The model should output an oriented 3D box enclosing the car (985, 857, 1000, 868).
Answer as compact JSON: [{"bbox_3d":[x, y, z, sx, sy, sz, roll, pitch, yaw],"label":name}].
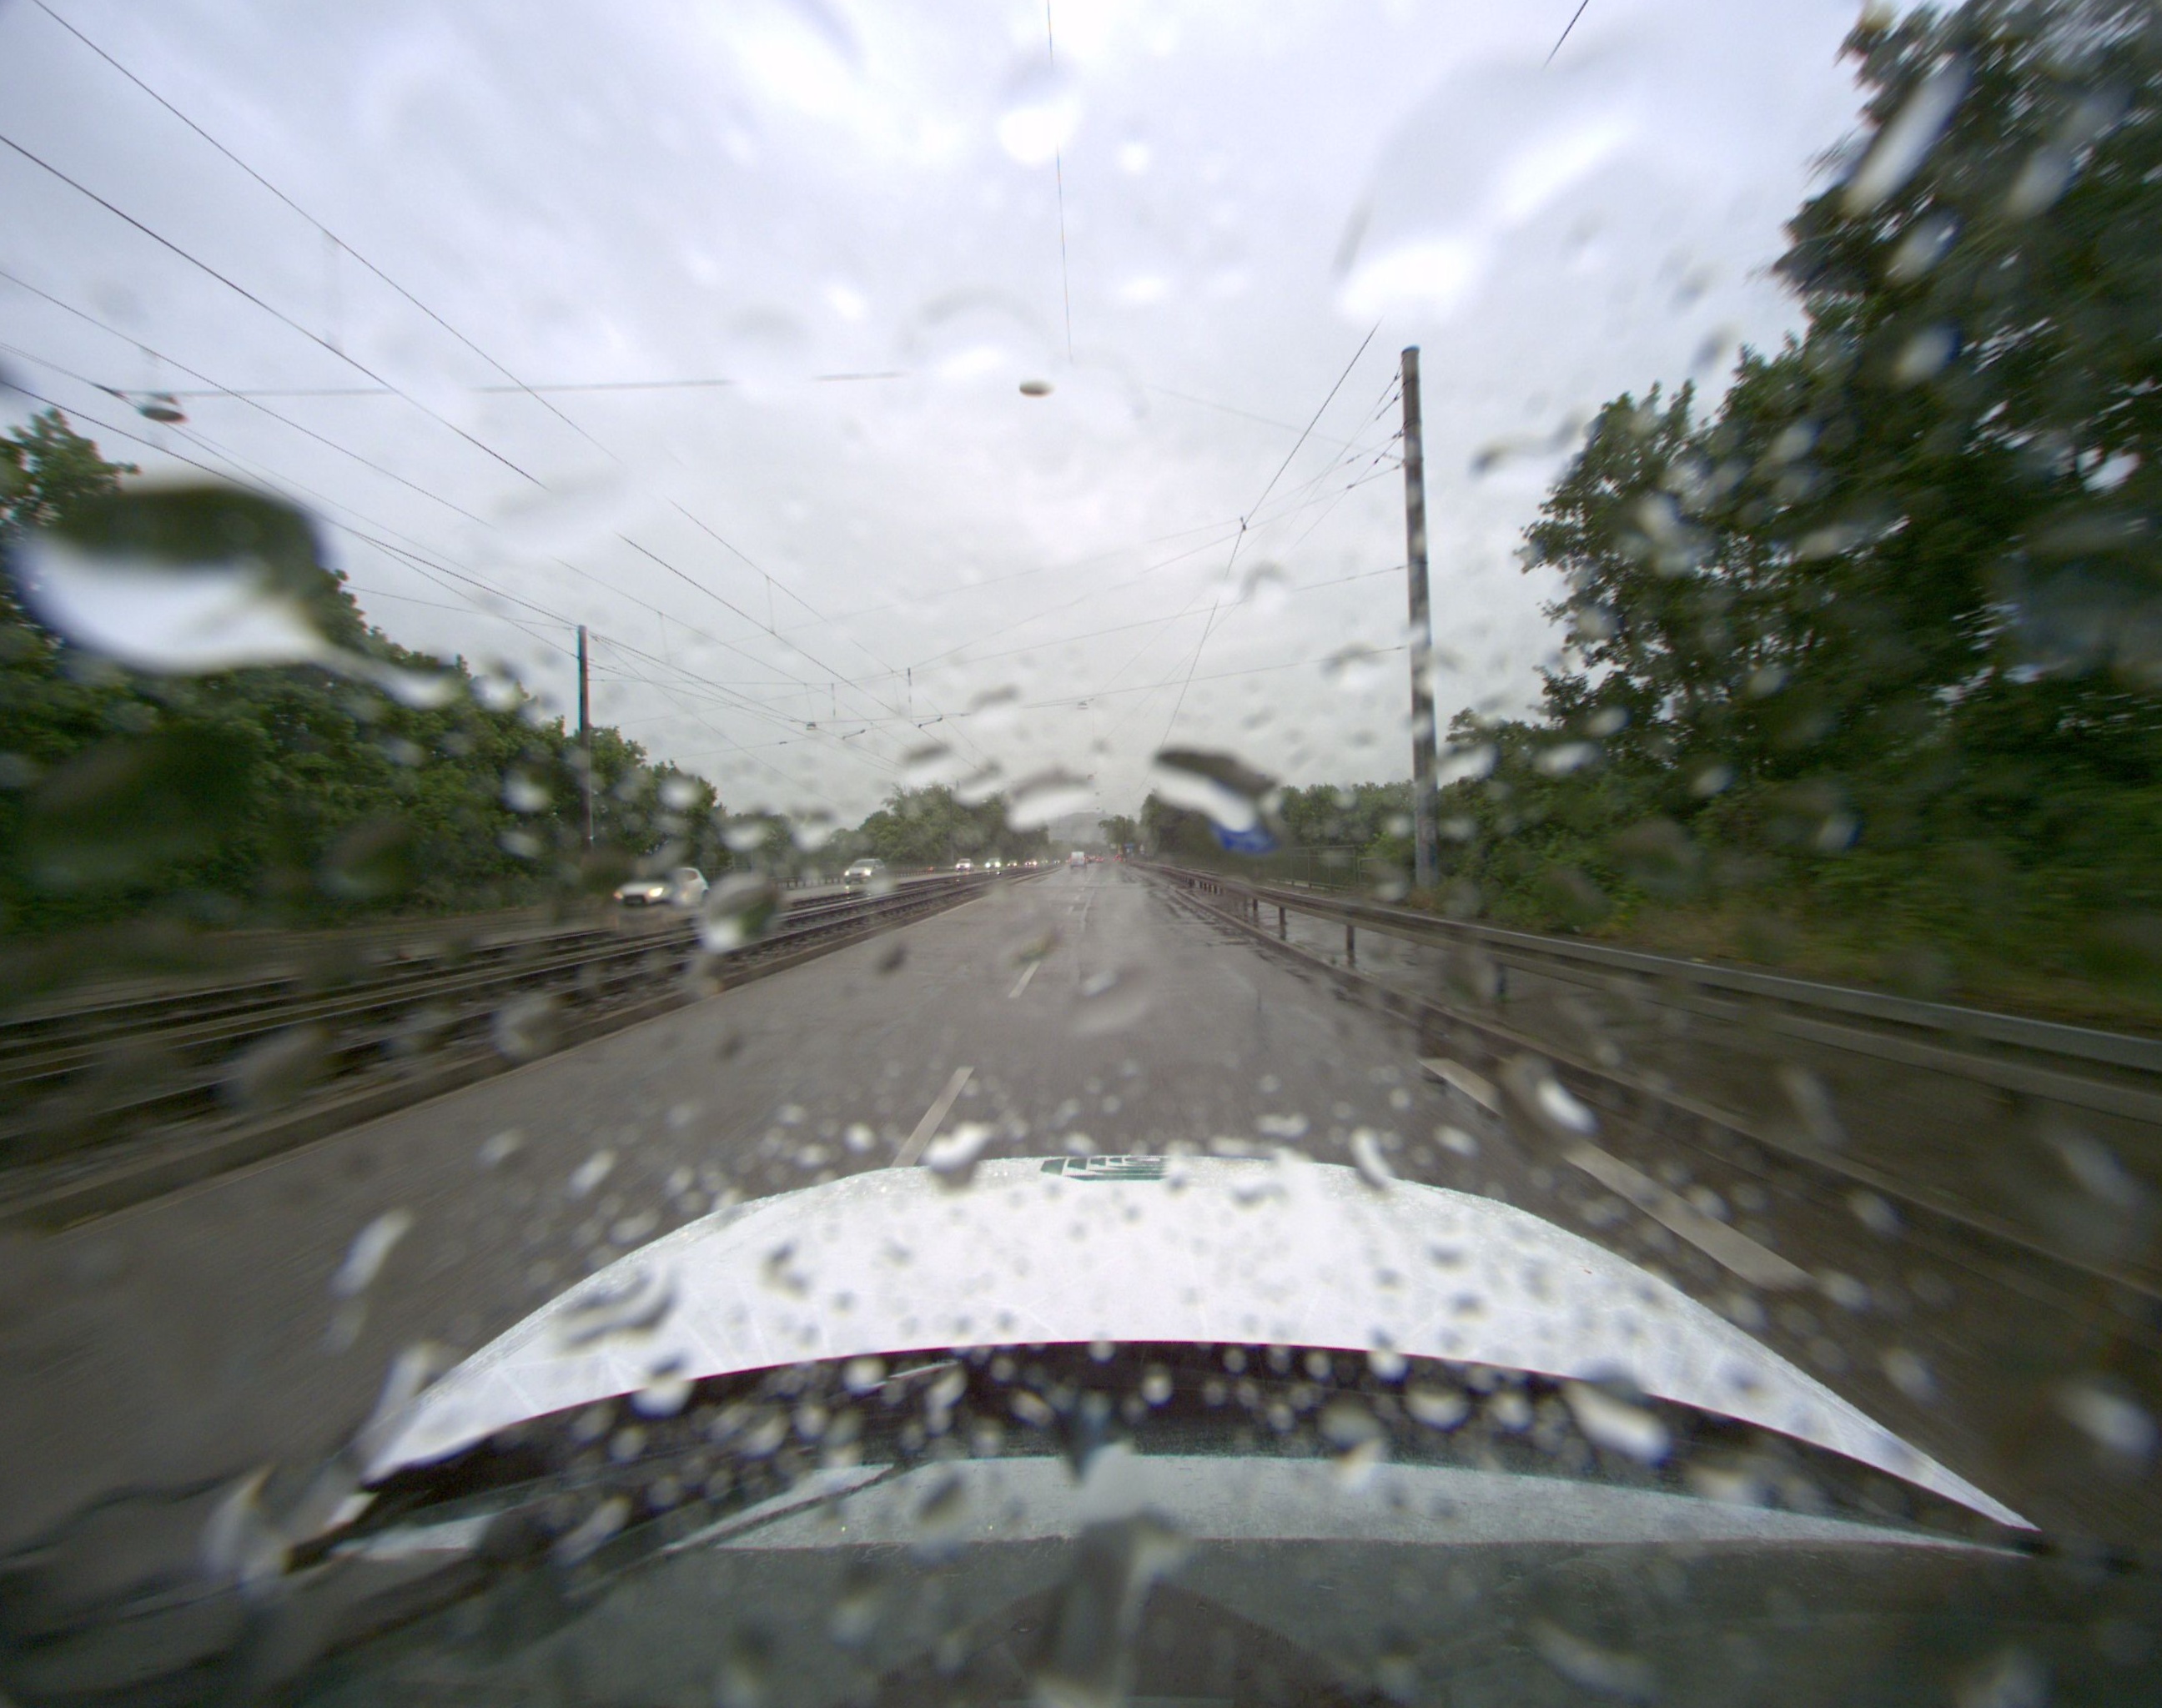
[{"bbox_3d":[-12.824,1.218,117.841,1.737,1.508,3.701,0,1,1],"label":"car"}]

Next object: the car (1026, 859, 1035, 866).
[{"bbox_3d":[-11.327,1.826,182.965,1.737,1.508,3.701,0,1,1],"label":"car"}]

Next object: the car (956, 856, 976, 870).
[{"bbox_3d":[-13.557,1.077,96.229,1.737,1.508,3.701,0,1,1],"label":"car"}]

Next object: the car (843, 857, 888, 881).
[{"bbox_3d":[-14.410,0.966,54.683,1.790,1.453,4.197,0,1,2],"label":"car"}]

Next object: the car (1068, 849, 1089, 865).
[{"bbox_3d":[-0.266,0.328,87.204,1.981,1.684,3.743,0,1,3],"label":"car"}]

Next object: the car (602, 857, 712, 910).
[{"bbox_3d":[-15.052,0.990,29.177,1.748,1.711,4.001,0,1,1],"label":"car"}]

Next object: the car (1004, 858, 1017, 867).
[{"bbox_3d":[-12.420,1.537,143.692,1.737,1.508,3.701,0,1,1],"label":"car"}]

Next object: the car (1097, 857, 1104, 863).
[{"bbox_3d":[5.023,1.512,213.076,1.737,1.508,3.701,0,1,1],"label":"car"}]
